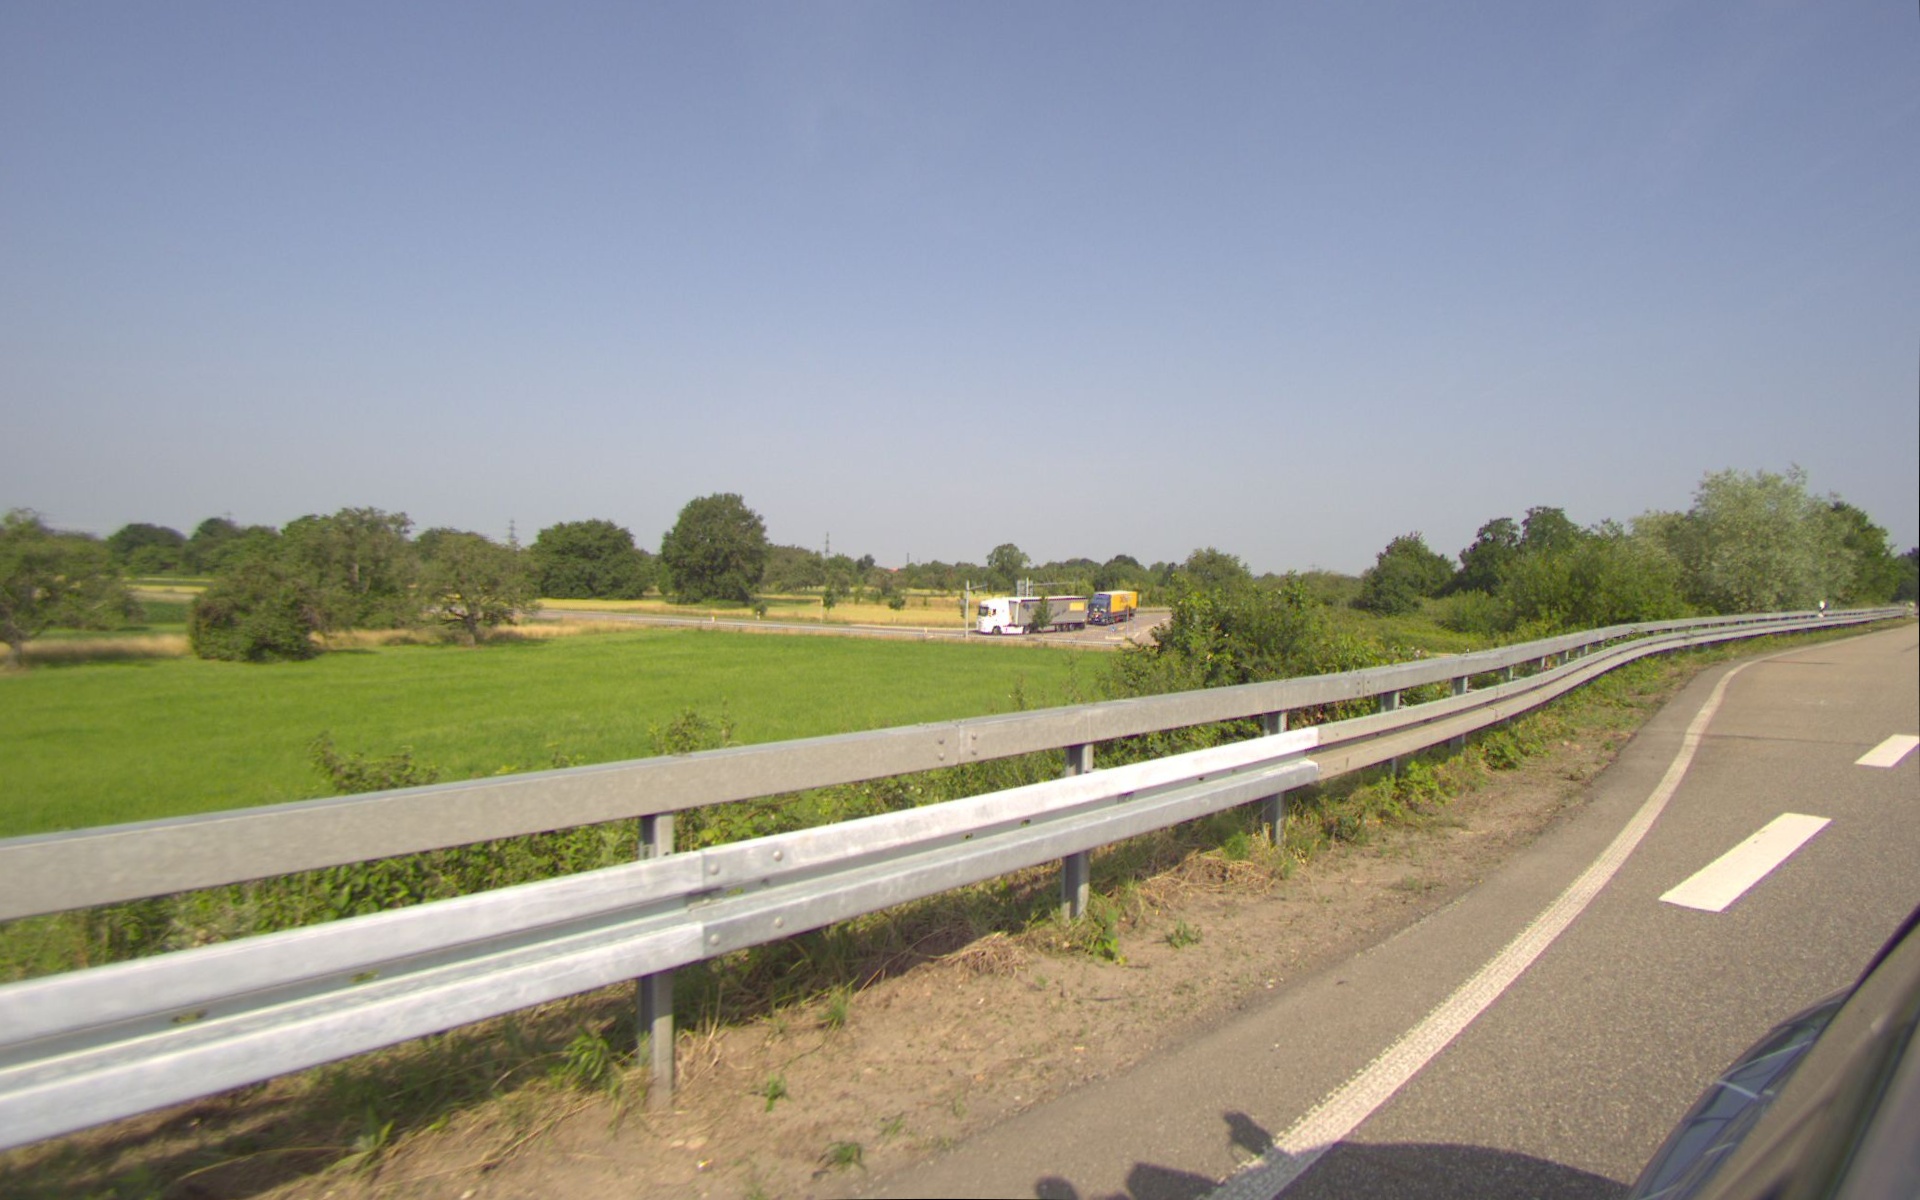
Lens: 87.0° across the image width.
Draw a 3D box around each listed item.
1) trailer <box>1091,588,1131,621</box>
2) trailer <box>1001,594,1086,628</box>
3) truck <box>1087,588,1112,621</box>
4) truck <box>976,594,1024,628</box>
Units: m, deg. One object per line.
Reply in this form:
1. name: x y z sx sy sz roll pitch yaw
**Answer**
1. trailer: 20.855 0.437 138.882 2.236 4.221 14.320 2 1 22
2. trailer: 9.817 1.256 117.242 2.100 3.698 13.722 1 1 41
3. truck: 18.319 0.522 132.622 2.236 4.221 4.340 2 1 22
4. truck: 4.473 1.230 112.866 4.838 3.724 2.113 1 0 -16
